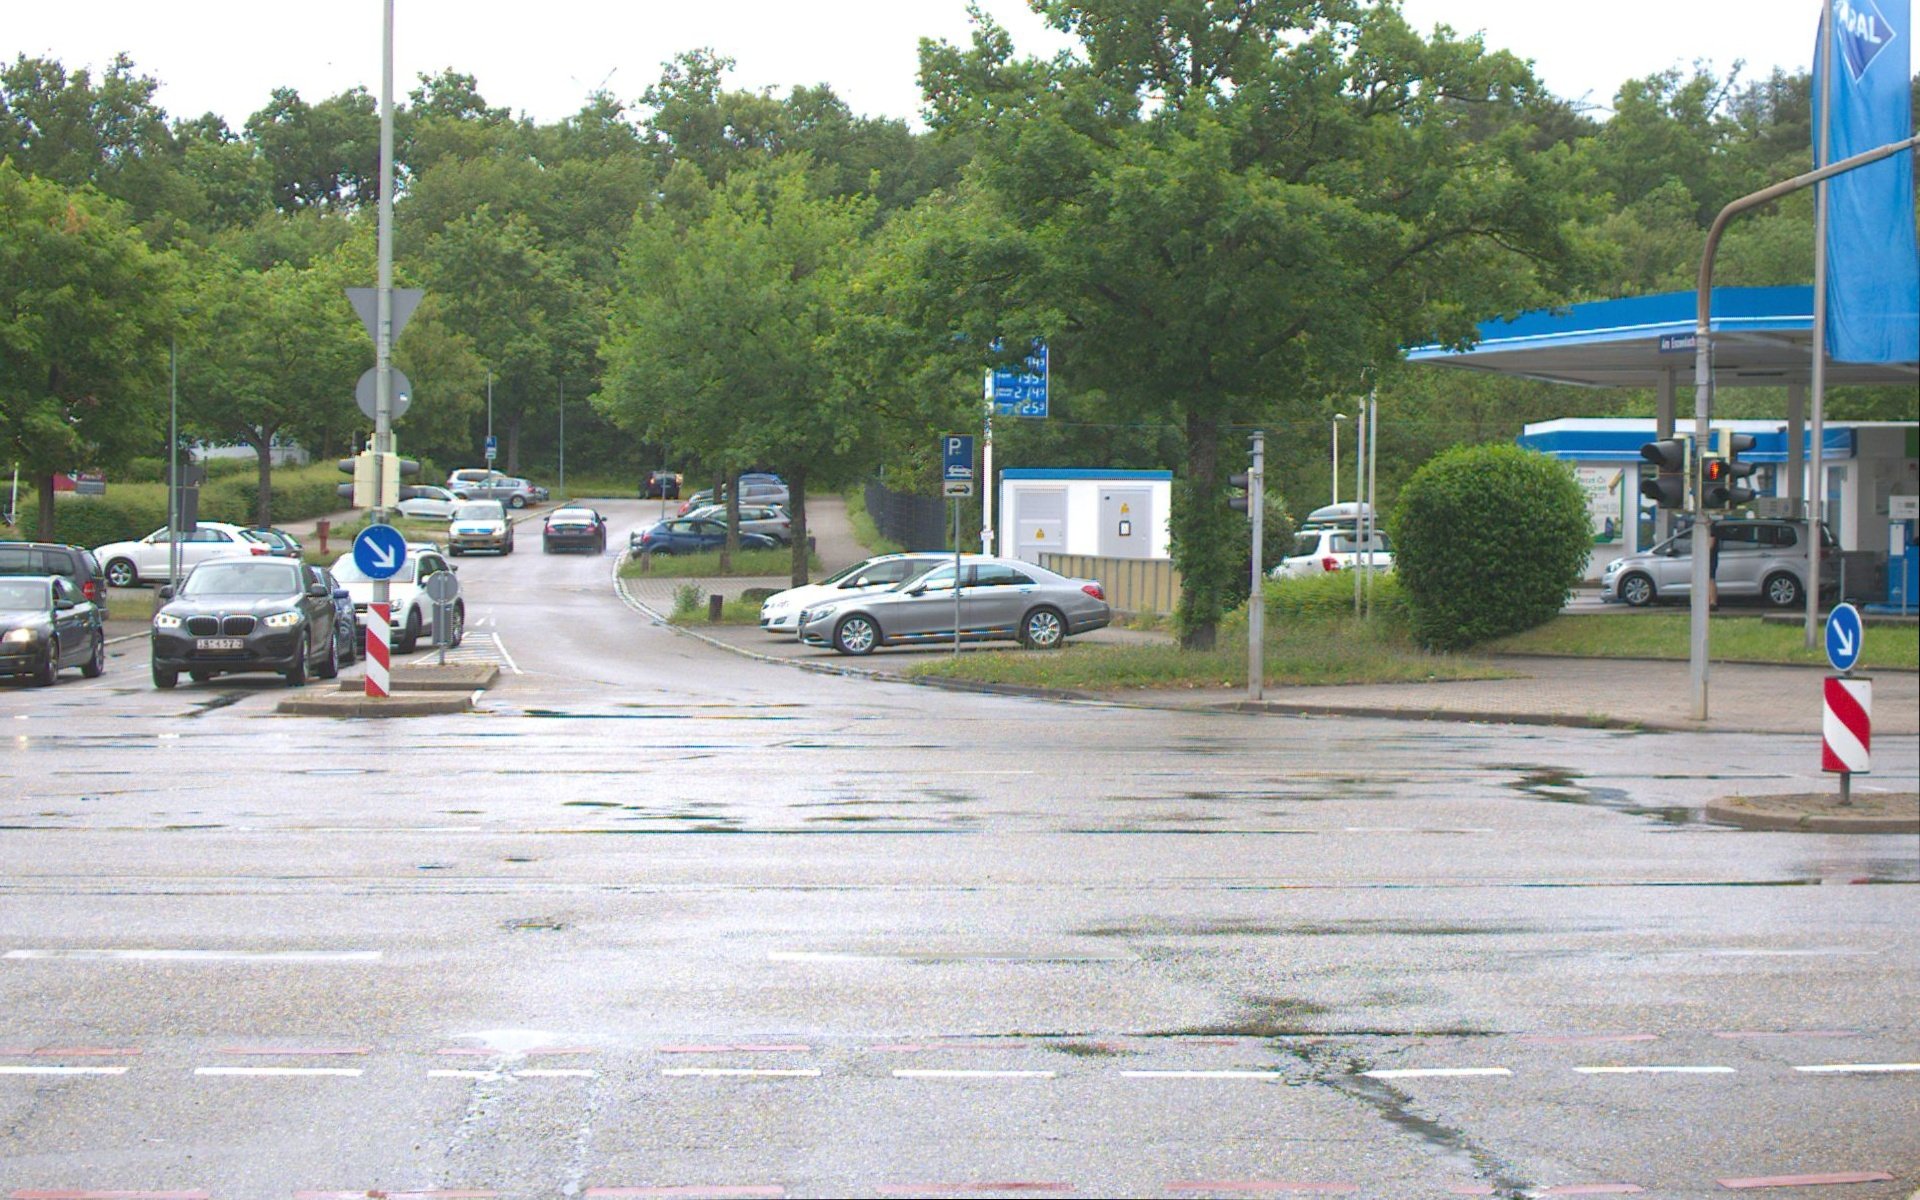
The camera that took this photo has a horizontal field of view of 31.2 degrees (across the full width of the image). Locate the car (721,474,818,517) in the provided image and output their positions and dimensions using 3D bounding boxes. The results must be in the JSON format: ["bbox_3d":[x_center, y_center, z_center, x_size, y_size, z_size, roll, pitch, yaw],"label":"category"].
[{"bbox_3d":[-8.004,-4.364,144.205,3.986,1.733,1.811,0,0,-6],"label":"car"}]

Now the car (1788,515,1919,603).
[{"bbox_3d":[18.675,-0.805,68.375,3.993,1.722,1.792,0,0,27],"label":"car"}]

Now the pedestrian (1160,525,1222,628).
[{"bbox_3d":[3.737,-0.384,55.749,0.808,1.656,0.887,0,0,-10],"label":"pedestrian"}]

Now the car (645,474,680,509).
[{"bbox_3d":[-15.861,-5.782,183.369,1.804,1.733,4.001,0,0,-5],"label":"car"}]

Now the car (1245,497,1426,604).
[{"bbox_3d":[6.552,-0.854,60.287,1.808,1.791,3.701,1,0,-17],"label":"car"}]

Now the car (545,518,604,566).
[{"bbox_3d":[-12.267,-1.839,109.540,1.807,1.477,3.752,0,0,-6],"label":"car"}]

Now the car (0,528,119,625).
[{"bbox_3d":[-17.120,-0.431,61.926,3.648,1.719,1.685,0,0,-7],"label":"car"}]

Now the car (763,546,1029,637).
[{"bbox_3d":[-1.172,-0.159,61.603,4.571,1.583,1.930,0,0,-7],"label":"car"}]

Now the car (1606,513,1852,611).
[{"bbox_3d":[14.516,-0.702,64.926,4.121,1.801,1.943,0,0,30],"label":"car"}]

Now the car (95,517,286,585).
[{"bbox_3d":[-18.577,-1.182,83.100,4.271,1.604,1.685,0,0,-3],"label":"car"}]

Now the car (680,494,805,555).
[{"bbox_3d":[-6.599,-2.281,104.213,3.697,1.744,1.697,1,0,-5],"label":"car"}]

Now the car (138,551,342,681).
[{"bbox_3d":[-9.062,0.175,43.599,1.895,1.548,4.593,0,0,-4],"label":"car"}]

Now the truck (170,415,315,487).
[{"bbox_3d":[-39.566,-8.227,189.745,7.366,3.847,2.778,0,0,1],"label":"truck"}]

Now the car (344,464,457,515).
[{"bbox_3d":[-20.438,-4.029,125.707,3.986,1.788,1.857,0,0,-7],"label":"car"}]

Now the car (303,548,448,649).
[{"bbox_3d":[-9.410,-0.058,55.573,1.895,1.548,4.001,0,1,-4],"label":"car"}]

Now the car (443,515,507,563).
[{"bbox_3d":[-15.075,-1.897,106.990,1.697,1.451,3.673,0,0,-3],"label":"car"}]

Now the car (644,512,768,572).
[{"bbox_3d":[-7.233,-1.637,97.628,3.459,1.649,1.616,1,0,-5],"label":"car"}]

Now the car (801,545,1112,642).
[{"bbox_3d":[-0.084,-0.114,56.338,4.885,1.543,2.000,0,0,-7],"label":"car"}]

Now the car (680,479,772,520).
[{"bbox_3d":[-10.348,-4.432,151.634,3.986,1.733,1.811,0,0,-6],"label":"car"}]

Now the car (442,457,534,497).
[{"bbox_3d":[-21.462,-5.586,156.336,3.986,1.788,1.856,0,0,-2],"label":"car"}]

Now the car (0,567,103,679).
[{"bbox_3d":[-12.529,0.269,45.140,1.782,1.399,4.001,0,0,-4],"label":"car"}]
